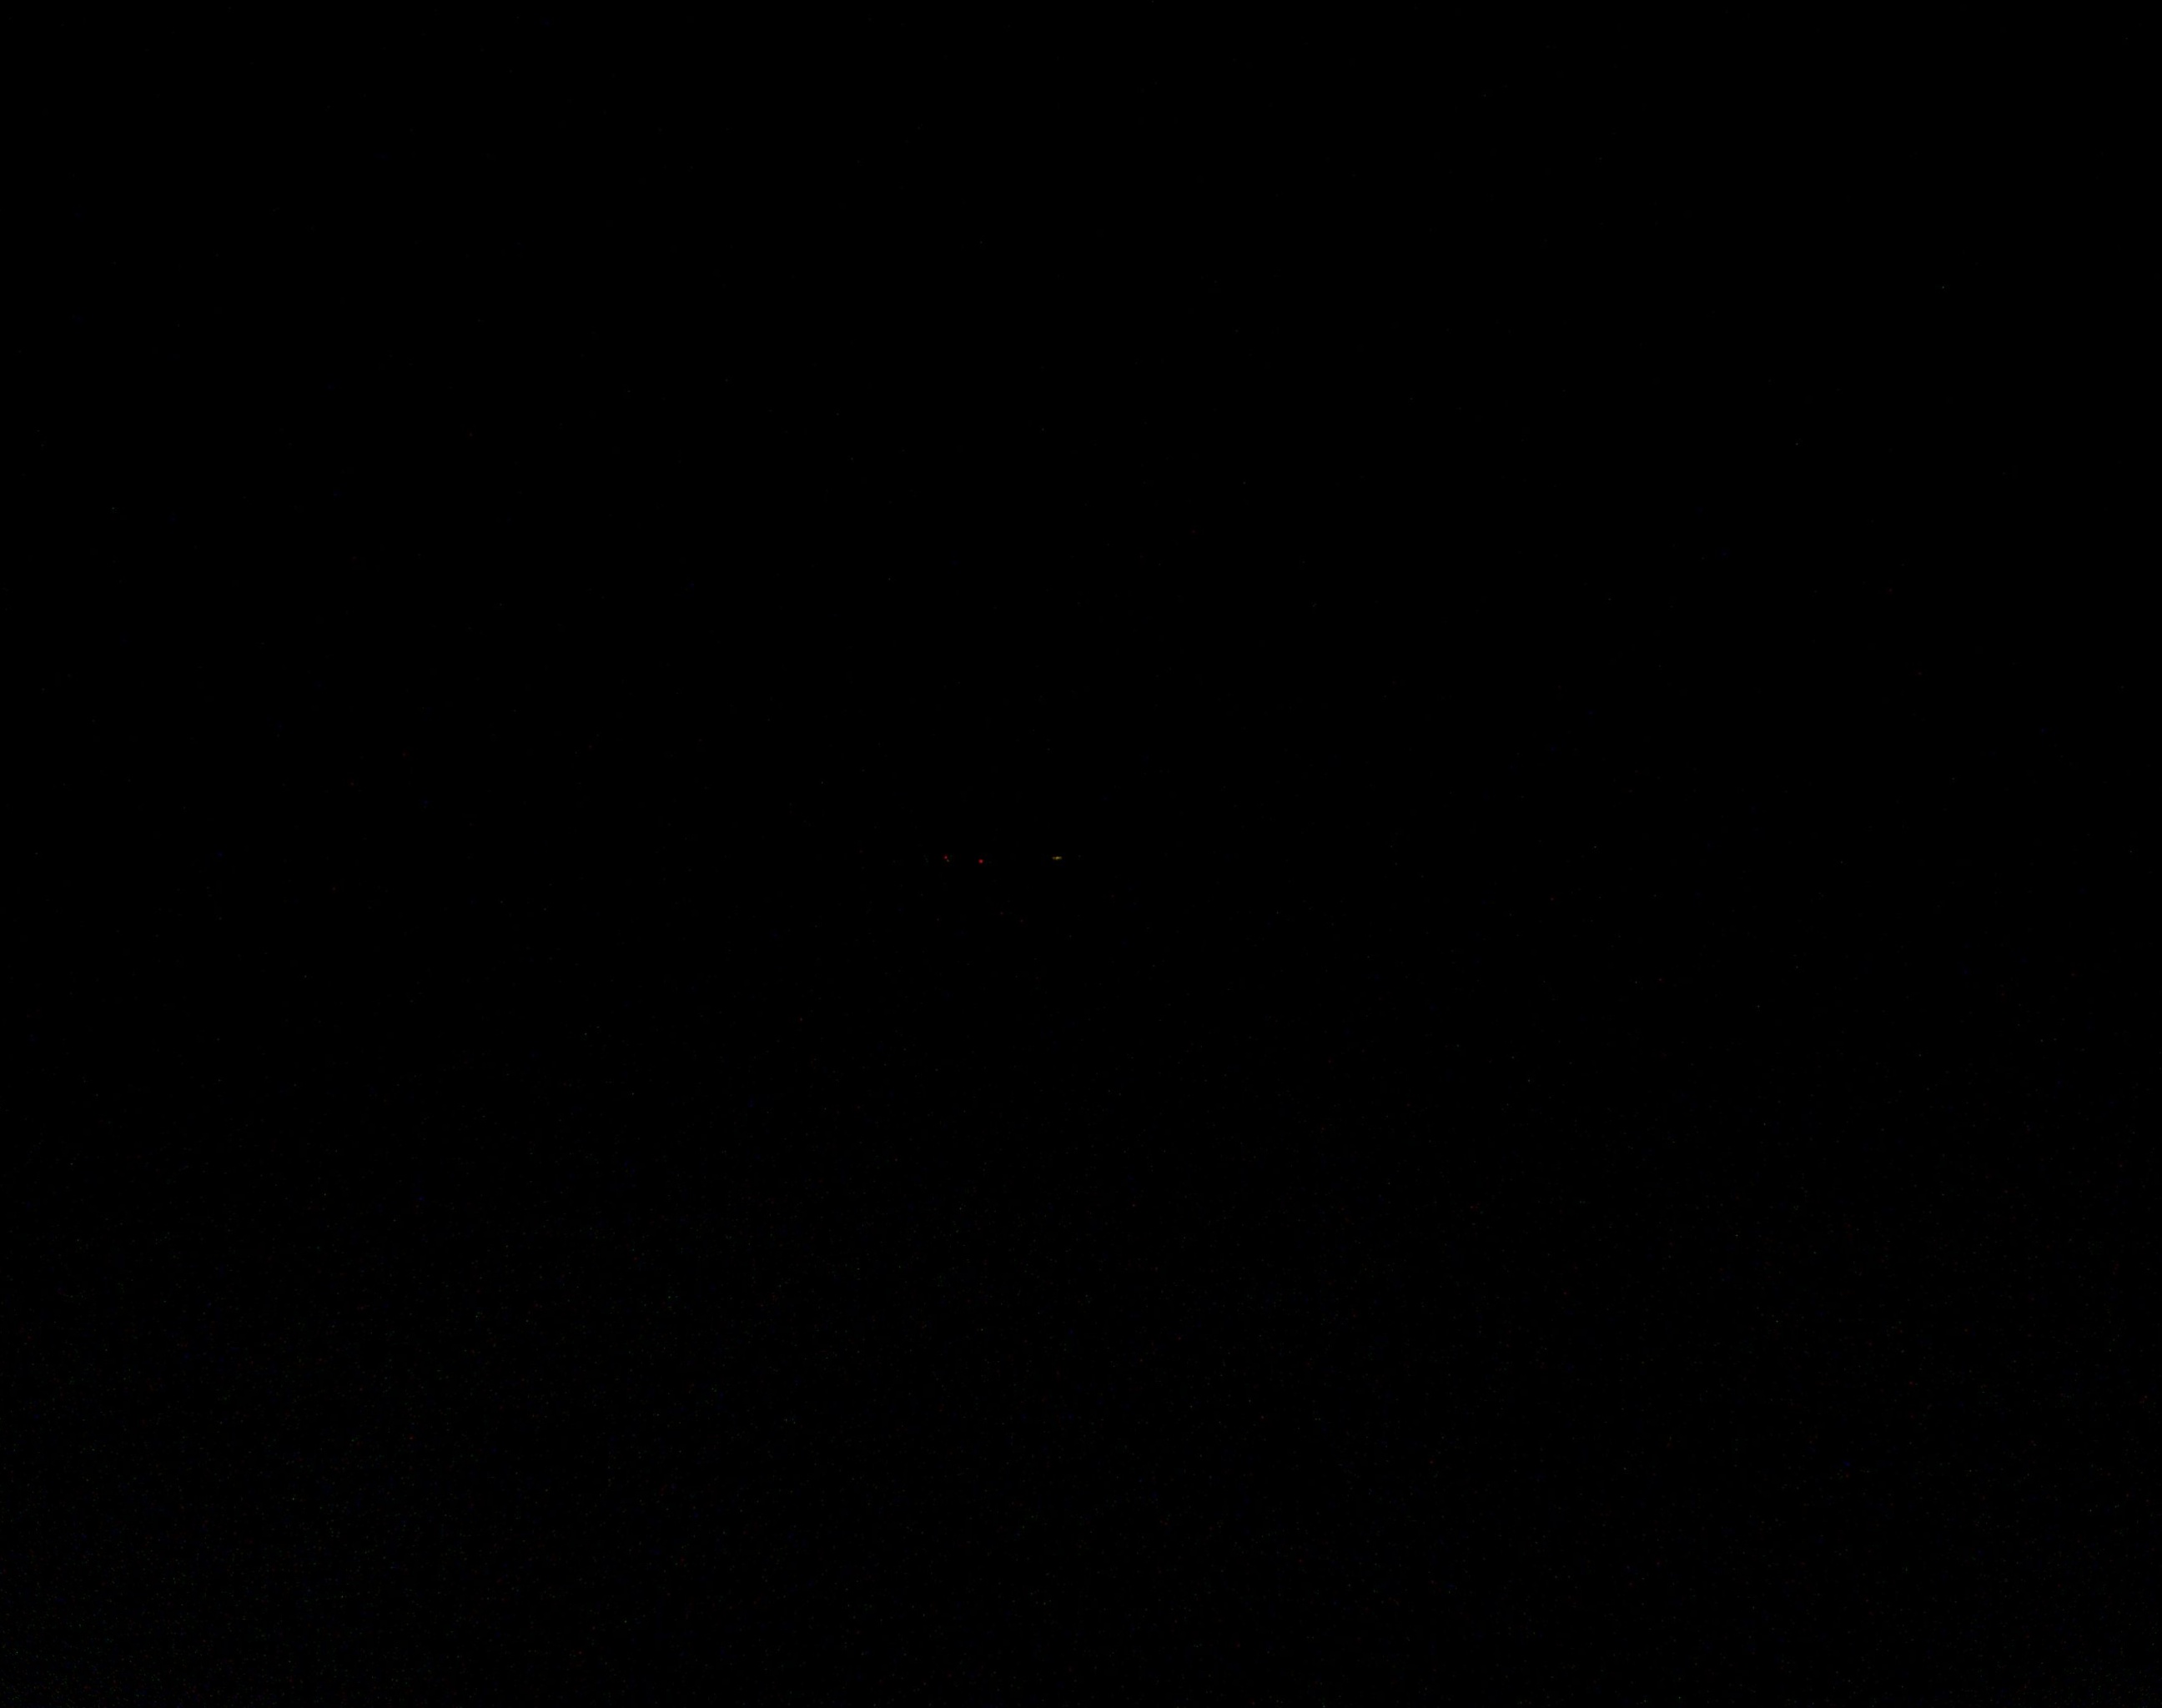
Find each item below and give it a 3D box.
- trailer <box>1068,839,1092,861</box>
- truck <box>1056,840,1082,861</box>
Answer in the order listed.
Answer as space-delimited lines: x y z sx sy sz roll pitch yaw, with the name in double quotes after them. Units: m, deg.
-0.193 -0.764 143.404 2.727 3.933 9.037 -1 0 -12 "trailer"
-2.508 -0.702 153.025 2.691 4.021 10.639 -1 0 -15 "truck"
